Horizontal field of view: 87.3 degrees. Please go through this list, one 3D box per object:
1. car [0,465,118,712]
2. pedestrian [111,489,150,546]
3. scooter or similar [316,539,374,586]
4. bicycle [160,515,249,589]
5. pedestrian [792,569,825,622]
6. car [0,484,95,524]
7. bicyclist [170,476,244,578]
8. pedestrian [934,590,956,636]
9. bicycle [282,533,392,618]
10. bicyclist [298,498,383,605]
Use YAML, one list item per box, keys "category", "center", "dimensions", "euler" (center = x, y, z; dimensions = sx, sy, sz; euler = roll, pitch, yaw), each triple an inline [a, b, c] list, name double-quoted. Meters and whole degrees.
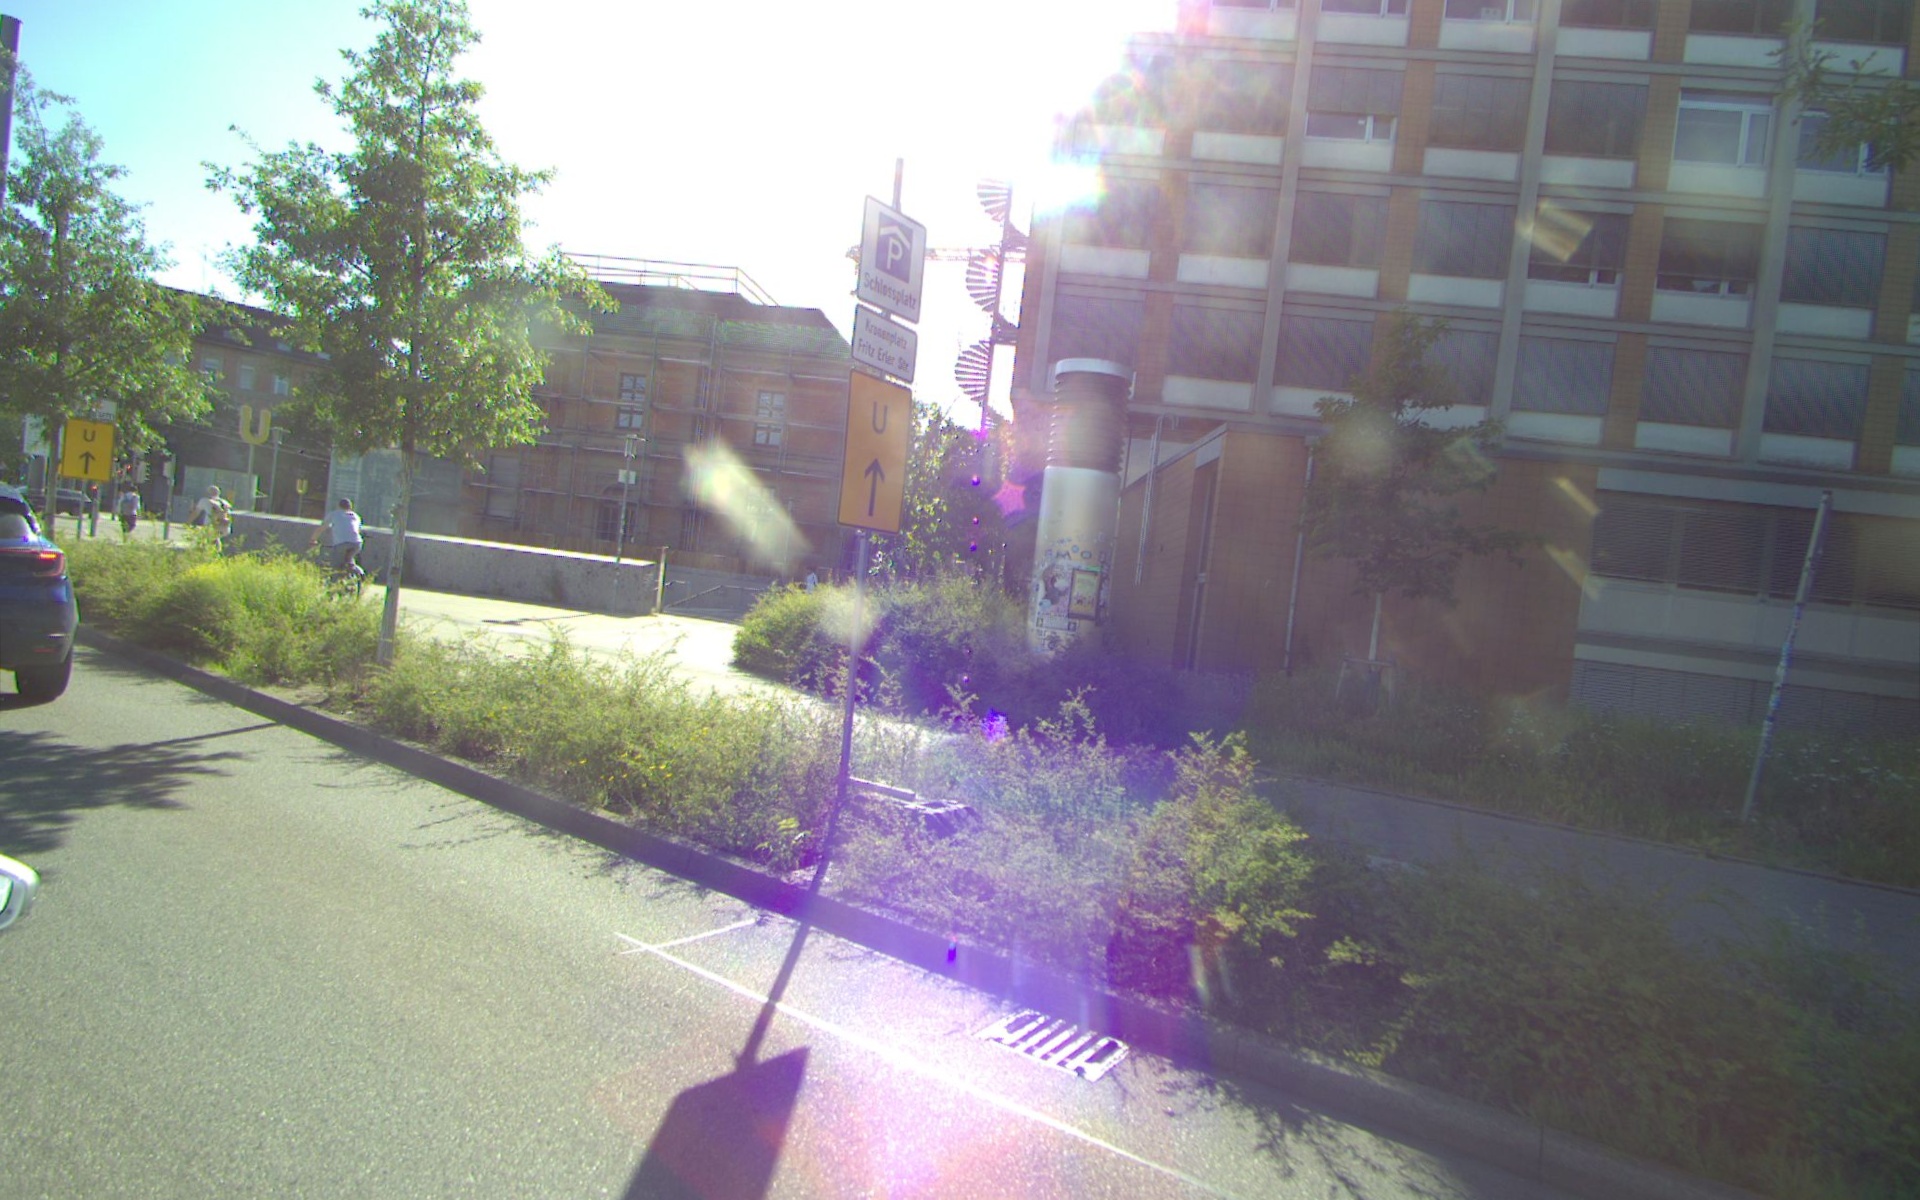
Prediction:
- category: "car"
  center: [-8.120, -0.275, 7.596]
  dimensions: [3.741, 1.636, 1.877]
  euler: [6, -2, 39]
- category: "pedestrian"
  center: [-27.190, -2.692, 32.994]
  dimensions: [0.587, 1.744, 0.868]
  euler: [5, -1, -18]
- category: "scooter or similar"
  center: [-16.016, -0.981, 26.197]
  dimensions: [1.226, 1.025, 0.469]
  euler: [9, 1, 14]
- category: "bicycle"
  center: [-14.280, -0.916, 19.002]
  dimensions: [1.840, 1.180, 0.746]
  euler: [7, 1, 35]
- category: "pedestrian"
  center: [-5.387, -0.162, 35.839]
  dimensions: [0.530, 1.774, 0.786]
  euler: [10, 2, 36]
- category: "car"
  center: [-50.324, -5.269, 54.930]
  dimensions: [1.698, 1.458, 4.380]
  euler: [8, -2, 16]
- category: "bicyclist"
  center: [-14.205, -1.375, 18.977]
  dimensions: [0.962, 1.785, 0.719]
  euler: [8, 1, 35]
- category: "pedestrian"
  center: [-0.612, 0.519, 40.897]
  dimensions: [0.713, 1.774, 0.538]
  euler: [7, 1, 0]
- category: "bicycle"
  center: [-10.324, -0.409, 16.649]
  dimensions: [1.839, 1.180, 0.717]
  euler: [7, 1, 32]
- category: "bicyclist"
  center: [-10.237, -0.798, 16.623]
  dimensions: [0.961, 1.637, 0.720]
  euler: [7, 1, 32]
